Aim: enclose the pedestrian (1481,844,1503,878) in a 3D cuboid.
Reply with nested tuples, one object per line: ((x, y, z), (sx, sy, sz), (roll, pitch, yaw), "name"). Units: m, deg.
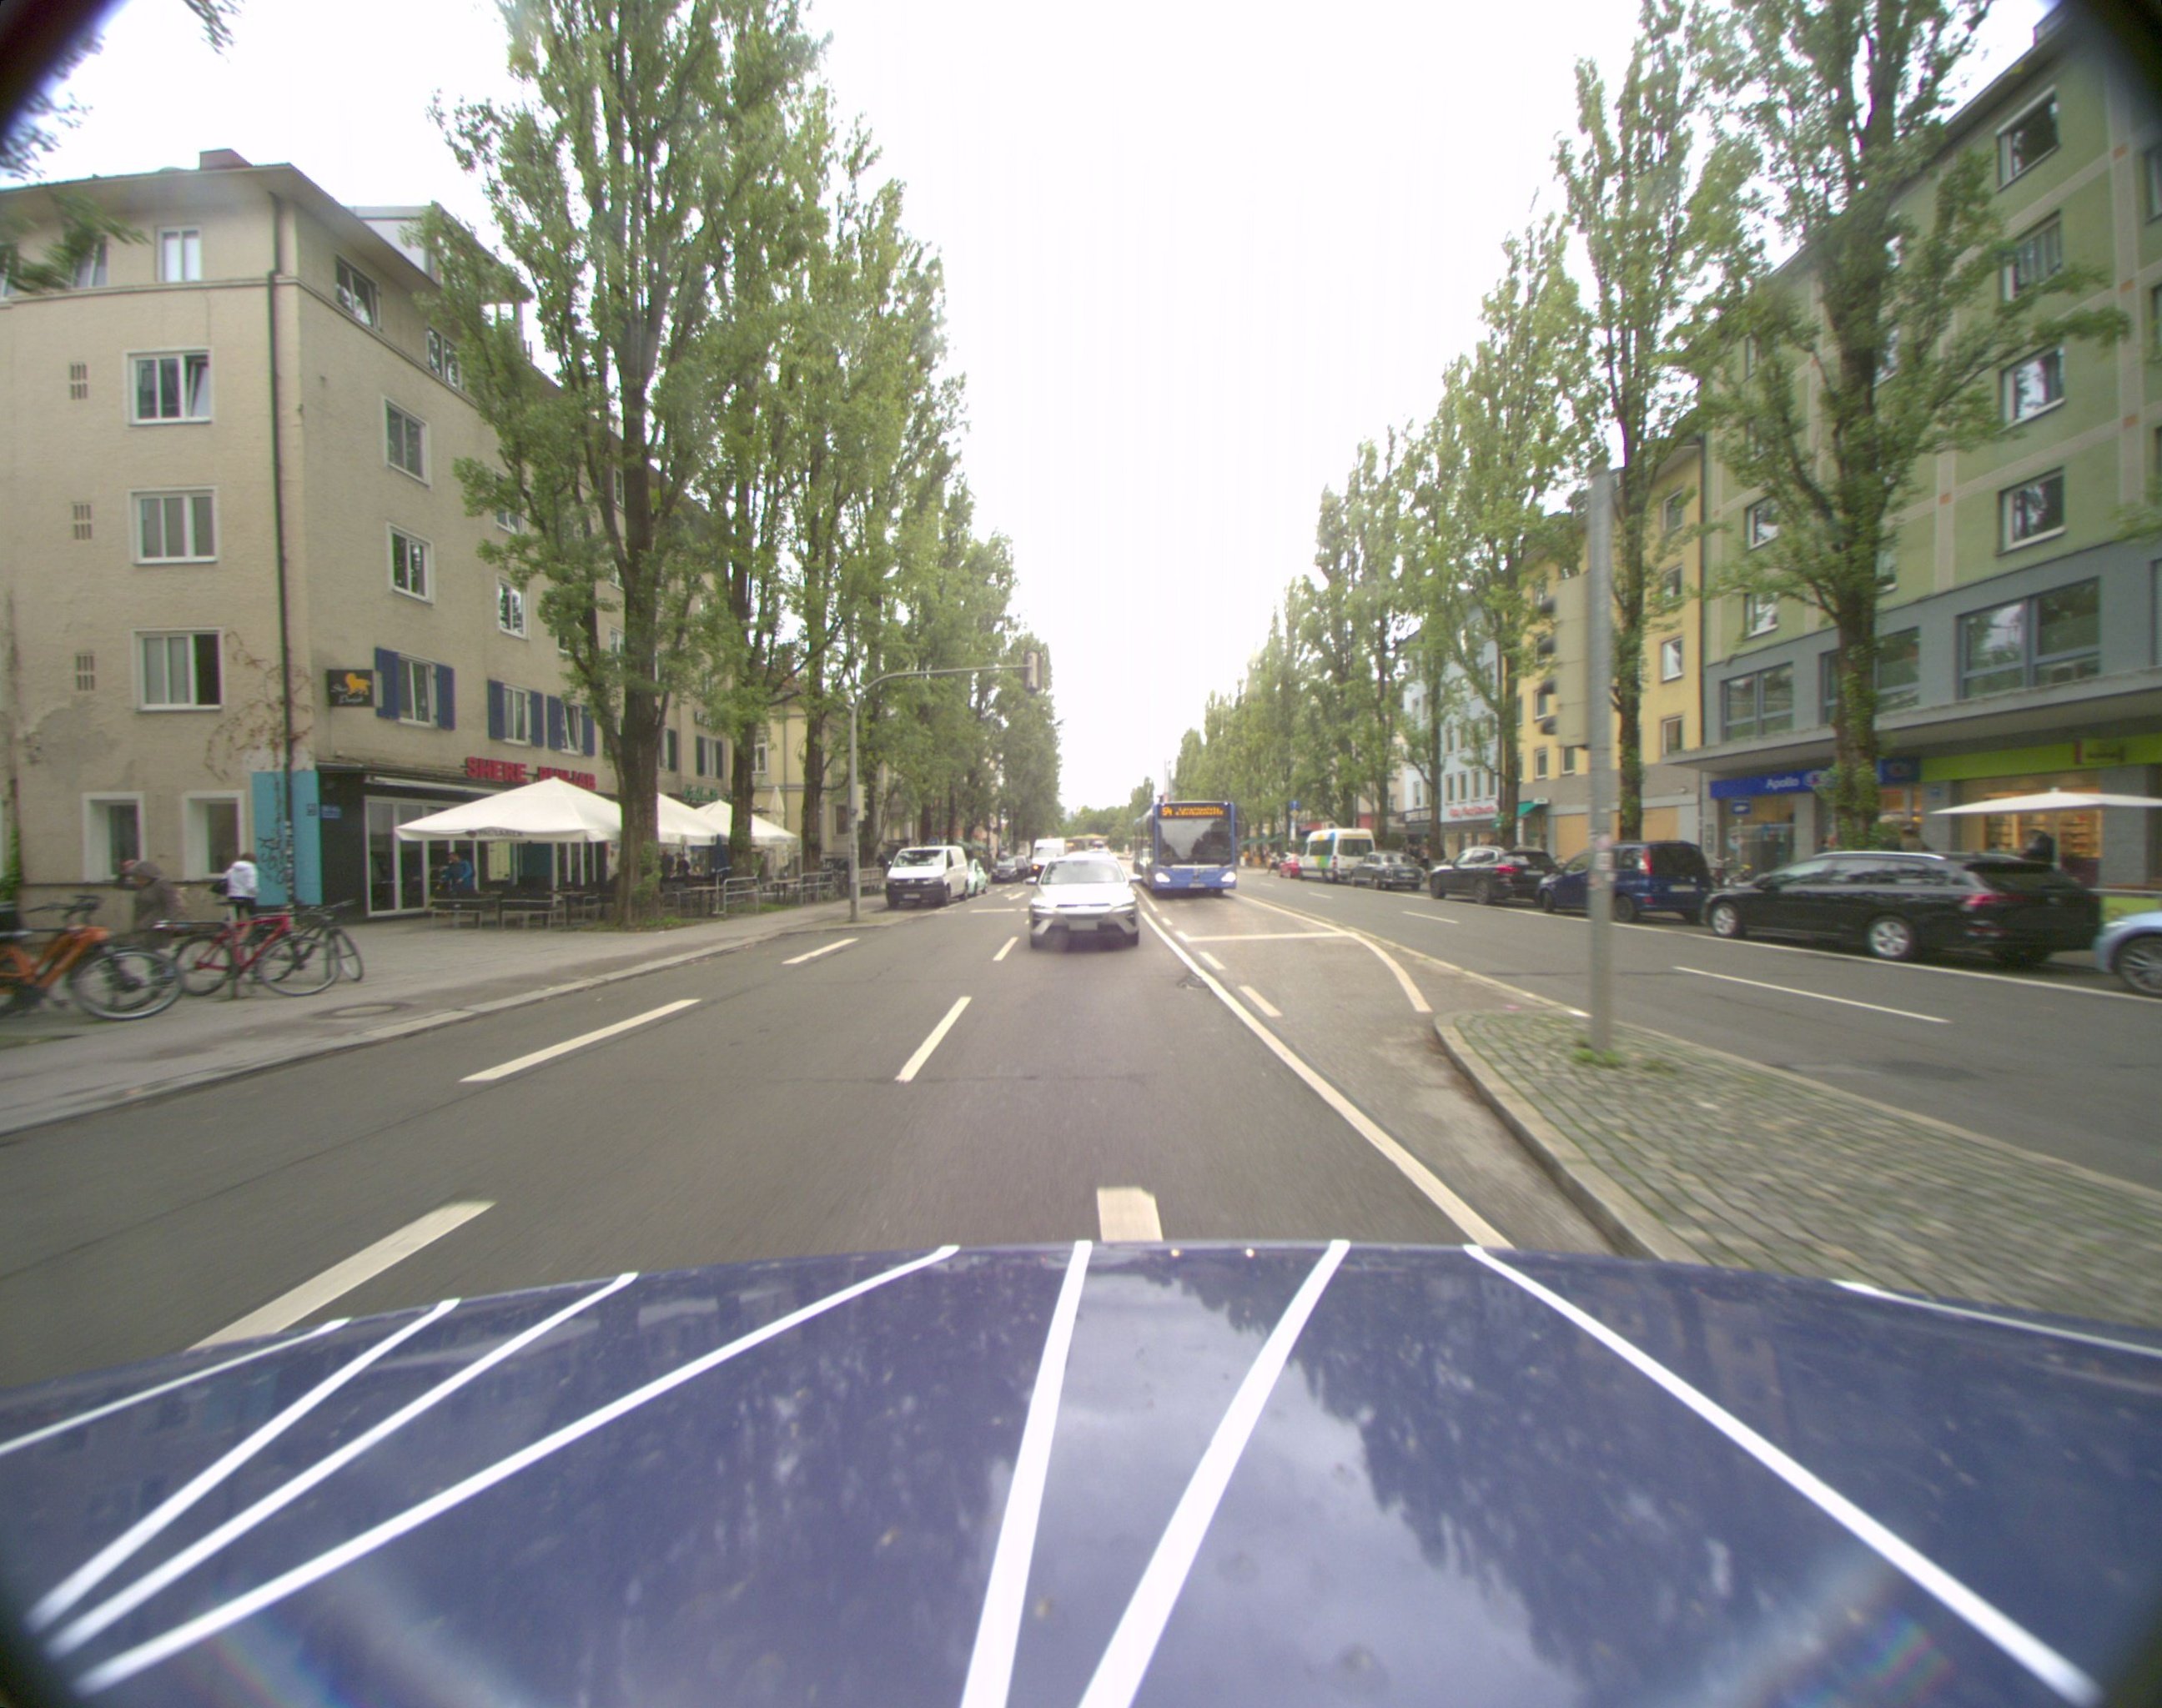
((20.189, 0.345, 37.329), (0.723, 1.641, 0.712), (-1, 1, 2), "pedestrian")

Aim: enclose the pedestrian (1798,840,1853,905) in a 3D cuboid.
((19.117, 0.463, 19.534), (0.723, 1.641, 0.712), (-1, 1, 2), "pedestrian")

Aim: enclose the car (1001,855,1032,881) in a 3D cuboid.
((-4.039, 0.854, 47.863), (1.475, 1.518, 3.603), (-1, 0, 3), "car")

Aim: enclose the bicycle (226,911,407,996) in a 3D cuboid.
((-9.824, 1.271, 9.794), (1.844, 1.003, 0.503), (-1, 1, 2), "bicycle")

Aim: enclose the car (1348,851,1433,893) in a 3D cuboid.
((12.350, 0.665, 30.629), (1.707, 1.520, 4.260), (0, 1, 0), "car")

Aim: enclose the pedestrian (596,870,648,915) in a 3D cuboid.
((-13.194, 1.089, 21.878), (0.775, 1.209, 1.023), (-2, 1, 5), "pedestrian")

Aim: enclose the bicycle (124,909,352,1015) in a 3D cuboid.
((-9.743, 1.235, 8.823), (1.902, 1.120, 0.686), (-1, 1, 2), "bicycle")

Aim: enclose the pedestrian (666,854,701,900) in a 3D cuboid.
((-14.012, 0.801, 26.802), (0.696, 1.568, 0.874), (-2, 1, 2), "pedestrian")

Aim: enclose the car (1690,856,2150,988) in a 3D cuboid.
((11.497, 0.798, 11.052), (1.707, 1.438, 4.585), (-1, 1, 2), "car")

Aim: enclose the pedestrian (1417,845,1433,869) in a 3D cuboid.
((20.204, 0.170, 44.594), (0.649, 1.430, 0.551), (-1, 1, -3), "pedestrian")

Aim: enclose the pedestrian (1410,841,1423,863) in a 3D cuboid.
((22.000, -0.162, 49.838), (0.609, 1.430, 0.551), (-1, 1, 2), "pedestrian")

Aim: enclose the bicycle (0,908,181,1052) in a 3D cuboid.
((-10.505, 1.178, 7.309), (2.577, 1.208, 0.965), (-1, 1, 2), "bicycle")

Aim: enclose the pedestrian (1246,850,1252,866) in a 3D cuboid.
((16.840, 0.378, 76.067), (0.609, 1.580, 0.551), (0, 1, 13), "pedestrian")

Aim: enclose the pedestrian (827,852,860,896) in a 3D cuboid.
((-9.808, 0.828, 31.363), (0.941, 1.756, 0.837), (-1, 1, 40), "pedestrian")

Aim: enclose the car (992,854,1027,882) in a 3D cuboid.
((-4.110, 0.777, 43.826), (1.475, 1.518, 3.603), (-1, 0, 3), "car")

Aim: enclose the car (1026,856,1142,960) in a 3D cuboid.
((0.093, 0.830, 13.550), (1.758, 1.529, 3.916), (-1, 0, 1), "car")

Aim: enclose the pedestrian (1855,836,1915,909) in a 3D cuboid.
((20.089, 0.443, 18.992), (0.749, 1.784, 0.716), (-1, 1, 2), "pedestrian")

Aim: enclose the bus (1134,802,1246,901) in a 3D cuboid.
((3.683, -0.101, 28.997), (2.806, 2.886, 12.858), (-1, 0, 2), "bus")

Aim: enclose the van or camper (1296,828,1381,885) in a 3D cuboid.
((12.561, 0.100, 37.631), (2.130, 2.536, 6.644), (1, 1, 2), "van or camper")

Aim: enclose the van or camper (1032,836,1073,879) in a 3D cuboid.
((-1.722, 0.180, 47.799), (1.998, 2.470, 6.644), (-1, 0, 2), "van or camper")

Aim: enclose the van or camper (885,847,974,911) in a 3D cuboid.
((-4.908, 0.742, 25.270), (1.795, 1.894, 4.566), (-1, 0, 3), "van or camper")

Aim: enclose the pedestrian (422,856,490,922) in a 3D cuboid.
((-15.582, 0.855, 18.969), (0.764, 1.594, 1.016), (-2, 1, 2), "pedestrian")

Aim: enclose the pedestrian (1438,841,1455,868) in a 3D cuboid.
((22.807, 0.021, 47.467), (0.723, 1.641, 0.706), (-1, 1, 2), "pedestrian")

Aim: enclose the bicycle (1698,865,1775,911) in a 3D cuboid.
((16.619, 0.860, 19.268), (1.657, 1.144, 0.286), (-1, 1, 2), "bicycle")

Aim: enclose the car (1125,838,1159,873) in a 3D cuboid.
((4.157, 0.074, 52.619), (2.024, 2.235, 4.411), (-2, 0, 1), "car")

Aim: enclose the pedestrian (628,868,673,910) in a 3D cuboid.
((-13.076, 1.037, 23.095), (0.667, 1.209, 1.023), (-2, 1, 5), "pedestrian")

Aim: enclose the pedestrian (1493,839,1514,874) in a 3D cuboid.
((21.255, 0.126, 38.258), (0.640, 1.694, 0.724), (-1, 1, 2), "pedestrian")

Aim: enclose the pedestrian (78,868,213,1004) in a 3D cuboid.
((-11.540, 0.977, 9.395), (0.711, 1.580, 0.794), (1, 1, 8), "pedestrian")

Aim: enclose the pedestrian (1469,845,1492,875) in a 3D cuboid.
((19.149, 0.289, 36.426), (0.768, 1.430, 0.551), (-1, 1, -3), "pedestrian")

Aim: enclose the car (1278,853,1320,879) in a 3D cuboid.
((12.726, 0.672, 44.511), (1.559, 1.403, 3.761), (-1, 0, 3), "car")

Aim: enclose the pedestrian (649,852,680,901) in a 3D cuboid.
((-14.733, 0.782, 26.874), (0.629, 1.709, 0.681), (-2, 1, 2), "pedestrian")

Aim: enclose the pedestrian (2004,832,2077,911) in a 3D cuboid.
((21.549, 0.383, 17.082), (0.723, 1.744, 0.716), (-1, 1, 2), "pedestrian")

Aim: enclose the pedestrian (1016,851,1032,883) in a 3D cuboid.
((-3.150, 0.693, 41.825), (0.791, 1.747, 0.769), (-1, 1, -9), "pedestrian")

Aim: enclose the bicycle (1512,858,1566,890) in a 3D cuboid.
((16.337, 0.720, 27.090), (1.679, 1.109, 0.358), (-1, 1, 2), "bicycle")

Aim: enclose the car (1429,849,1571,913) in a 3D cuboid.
((11.845, 0.684, 21.884), (1.707, 1.623, 4.503), (0, 1, 2), "car")

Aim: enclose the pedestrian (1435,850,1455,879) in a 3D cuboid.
((18.494, 0.542, 38.638), (0.611, 1.430, 0.677), (-1, 1, -25), "pedestrian")

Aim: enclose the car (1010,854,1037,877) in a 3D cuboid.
((-3.994, 0.799, 53.076), (1.475, 1.518, 3.603), (-1, 0, 3), "car")

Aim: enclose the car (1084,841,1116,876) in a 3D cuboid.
((1.333, 0.282, 52.847), (2.024, 2.235, 4.411), (-2, 0, 1), "car")

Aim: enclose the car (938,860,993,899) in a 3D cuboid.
((-4.550, 0.967, 30.334), (1.475, 1.389, 3.483), (-1, 0, 3), "car")

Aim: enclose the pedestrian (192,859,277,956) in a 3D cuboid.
((-15.009, 0.920, 13.486), (0.668, 1.654, 0.692), (-2, 1, 1), "pedestrian")

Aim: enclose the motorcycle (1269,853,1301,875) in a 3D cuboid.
((13.625, 0.641, 50.739), (2.023, 1.413, 0.570), (-1, 1, -5), "motorcycle")

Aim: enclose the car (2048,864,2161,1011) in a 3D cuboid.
((11.339, 0.846, 6.050), (1.662, 1.409, 4.400), (0, 1, 1), "car")

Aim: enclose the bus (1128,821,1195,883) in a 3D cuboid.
((4.143, -0.127, 41.848), (2.806, 2.886, 12.859), (-1, 0, 2), "bus")

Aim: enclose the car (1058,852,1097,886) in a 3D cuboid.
((-0.132, 0.697, 37.902), (1.758, 1.529, 3.916), (-2, 0, 1), "car")

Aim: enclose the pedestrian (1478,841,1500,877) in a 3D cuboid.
((20.517, 0.238, 38.218), (0.732, 1.755, 0.724), (-1, 1, 1), "pedestrian")

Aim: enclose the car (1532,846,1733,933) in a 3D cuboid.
((11.957, 0.678, 16.805), (1.621, 1.677, 3.770), (1, 1, -1), "car")

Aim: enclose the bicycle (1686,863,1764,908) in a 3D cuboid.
((16.672, 0.813, 19.691), (1.679, 1.109, 0.361), (-1, 1, 2), "bicycle")

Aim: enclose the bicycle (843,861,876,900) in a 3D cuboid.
((-8.418, 0.970, 28.797), (0.829, 1.403, 2.595), (-2, 0, -24), "bicycle")

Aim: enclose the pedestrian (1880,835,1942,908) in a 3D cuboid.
((20.716, 0.418, 18.980), (0.749, 1.784, 0.716), (-1, 1, 2), "pedestrian")
